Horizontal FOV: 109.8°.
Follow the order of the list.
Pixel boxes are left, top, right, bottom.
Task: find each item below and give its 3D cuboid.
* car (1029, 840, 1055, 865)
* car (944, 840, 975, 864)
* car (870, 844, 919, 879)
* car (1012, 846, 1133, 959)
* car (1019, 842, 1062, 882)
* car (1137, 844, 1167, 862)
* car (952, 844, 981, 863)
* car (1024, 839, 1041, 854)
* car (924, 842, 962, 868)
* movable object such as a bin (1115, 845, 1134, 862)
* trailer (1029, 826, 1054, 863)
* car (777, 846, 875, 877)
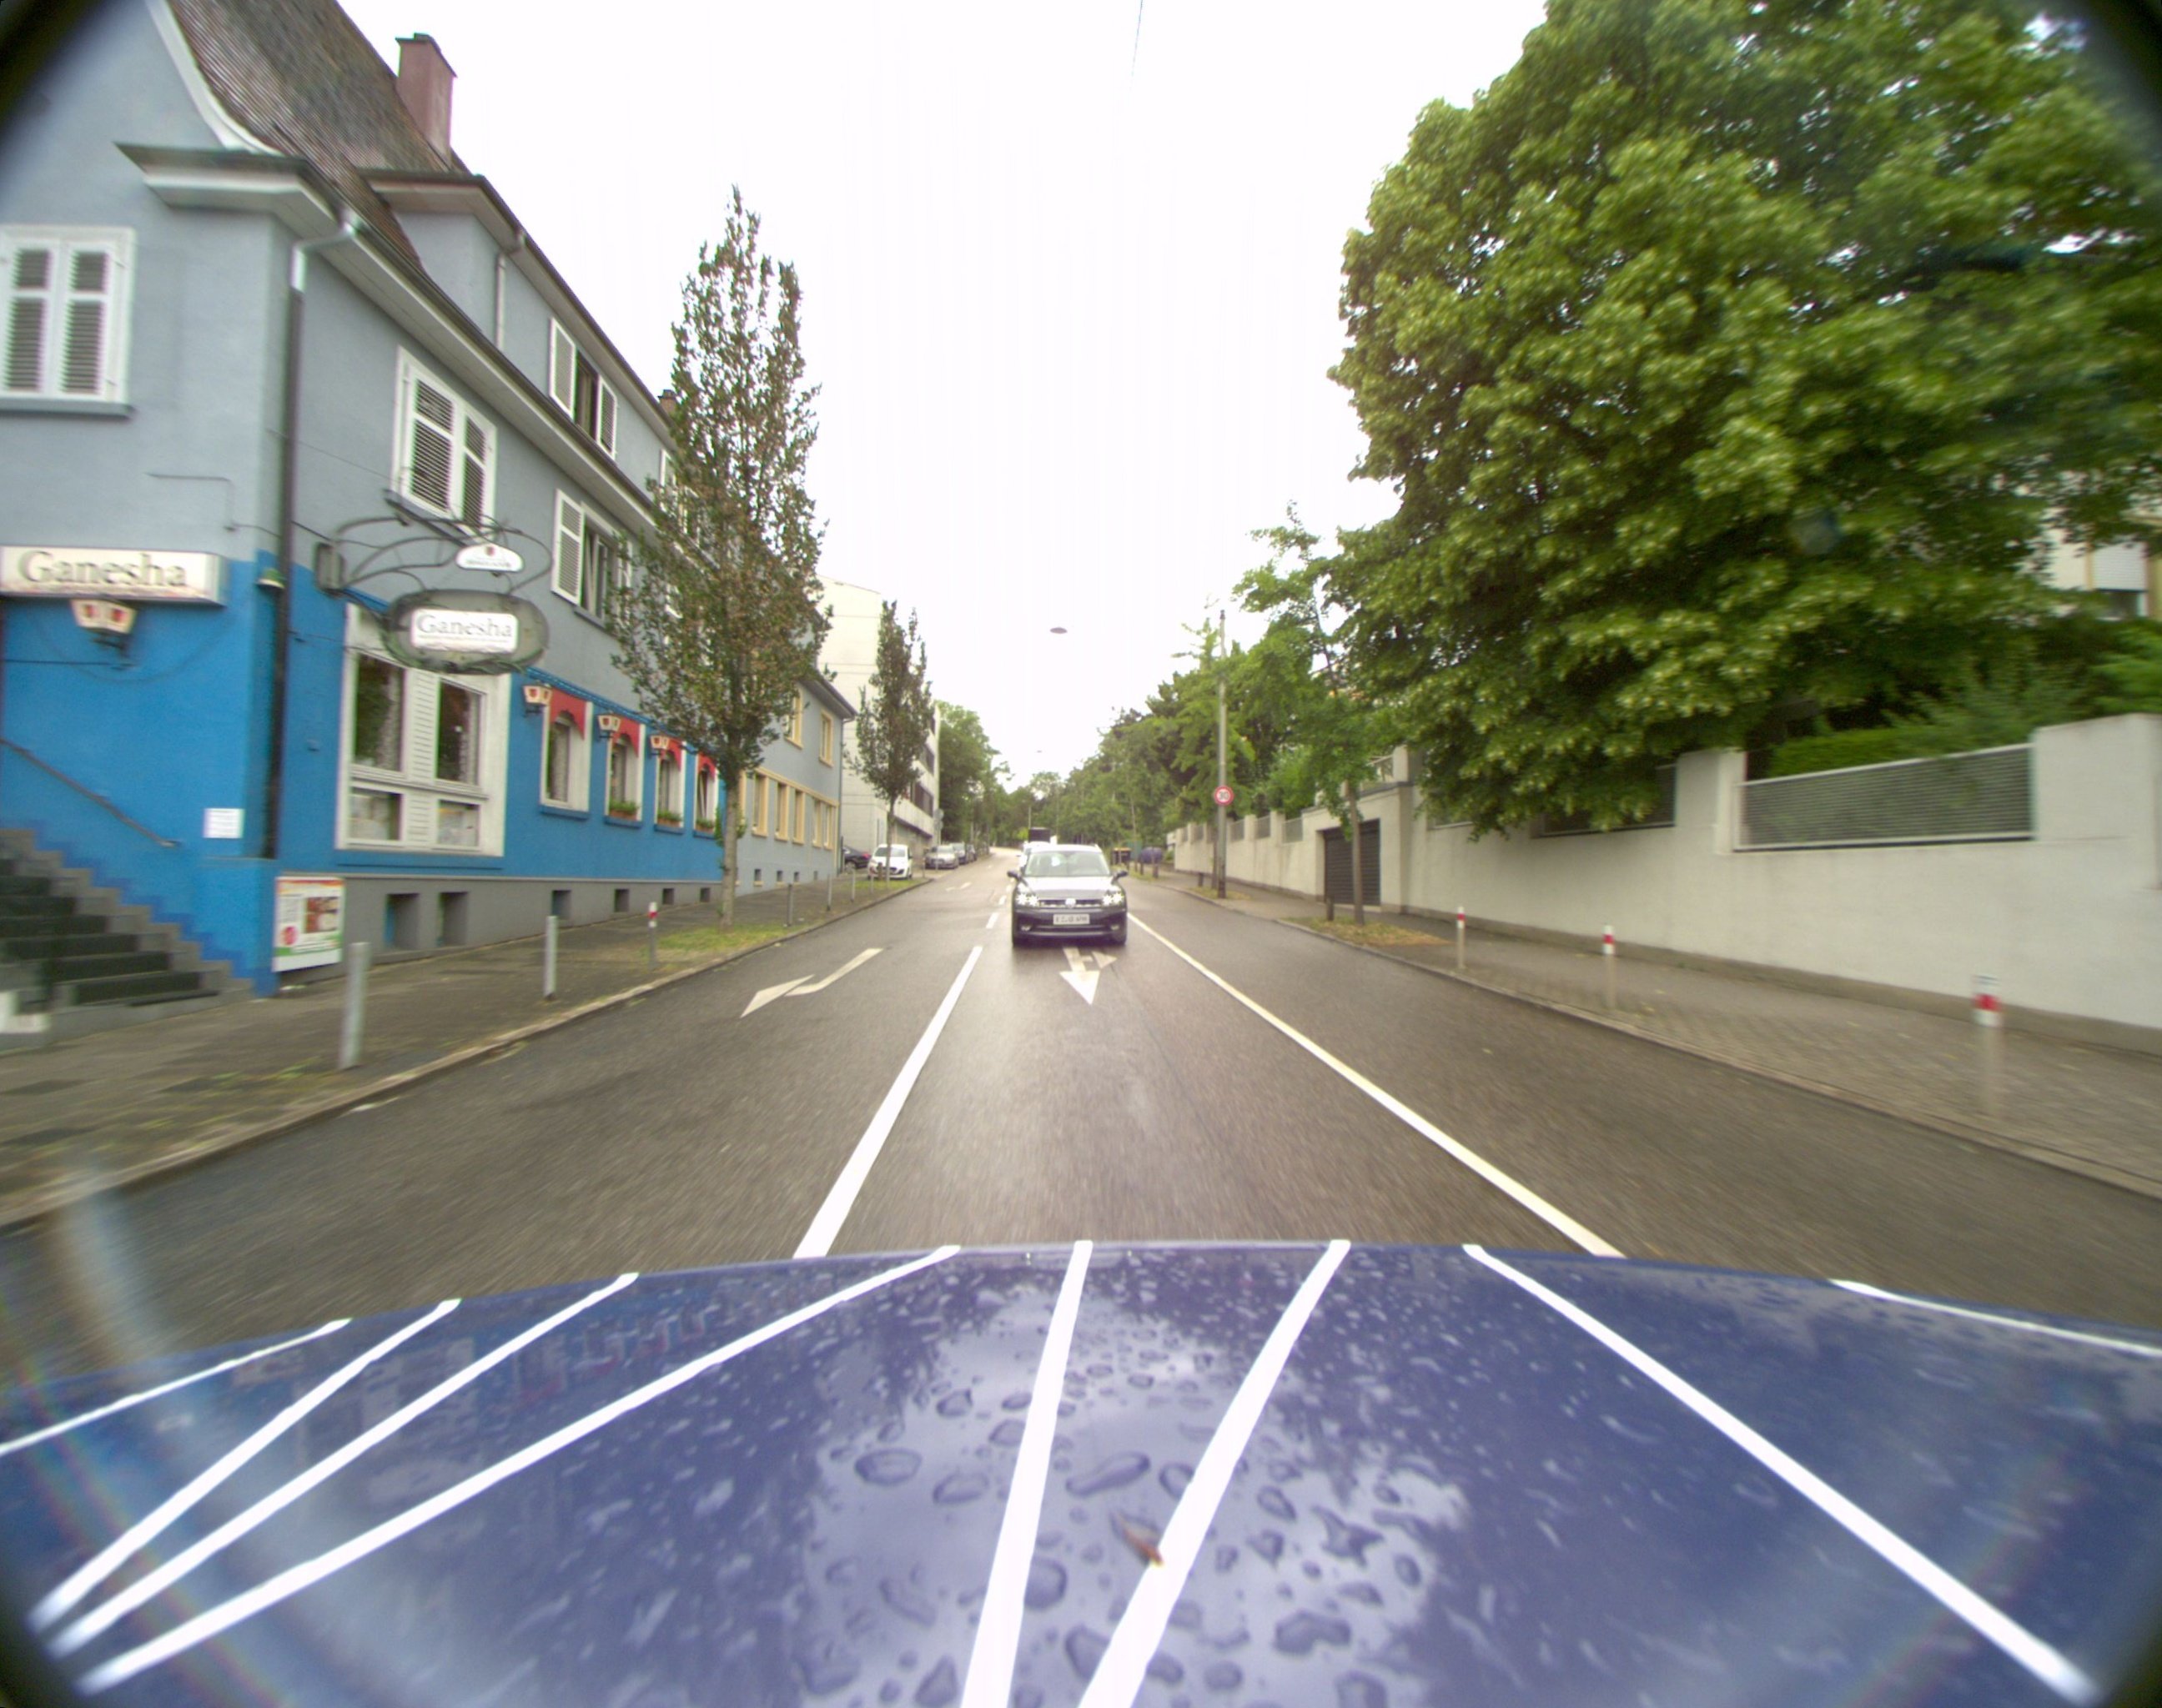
[{"bbox_3d":[-2.753,-0.135,53.233,1.737,1.610,3.473,1,2,-4],"label":"car"},{"bbox_3d":[-8.689,-0.165,54.557,1.750,1.665,4.342,1,1,-4],"label":"car"},{"bbox_3d":[-7.874,0.285,32.310,1.591,1.403,3.453,1,1,-7],"label":"car"},{"bbox_3d":[-0.248,0.709,13.470,1.786,1.632,4.197,1,1,-3],"label":"car"},{"bbox_3d":[-1.812,0.316,33.852,1.786,1.632,4.197,1,1,-3],"label":"car"},{"bbox_3d":[6.266,-0.089,67.362,1.857,1.483,3.863,2,1,-5],"label":"car"},{"bbox_3d":[-8.978,-0.072,59.799,1.711,1.436,4.096,1,1,0],"label":"car"},{"bbox_3d":[-6.810,-1.071,106.477,2.000,2.002,3.995,1,2,-8],"label":"car"},{"bbox_3d":[-8.381,0.002,46.475,1.820,1.451,4.738,1,1,-6],"label":"car"},{"bbox_3d":[3.372,-0.039,58.824,1.227,1.343,1.122,1,1,-12],"label":"movable object such as a bin"},{"bbox_3d":[-2.968,-0.743,56.438,1.771,2.611,3.030,1,2,-4],"label":"trailer"},{"bbox_3d":[-12.369,0.335,37.002,4.372,1.399,1.805,-1,2,-19],"label":"car"}]
